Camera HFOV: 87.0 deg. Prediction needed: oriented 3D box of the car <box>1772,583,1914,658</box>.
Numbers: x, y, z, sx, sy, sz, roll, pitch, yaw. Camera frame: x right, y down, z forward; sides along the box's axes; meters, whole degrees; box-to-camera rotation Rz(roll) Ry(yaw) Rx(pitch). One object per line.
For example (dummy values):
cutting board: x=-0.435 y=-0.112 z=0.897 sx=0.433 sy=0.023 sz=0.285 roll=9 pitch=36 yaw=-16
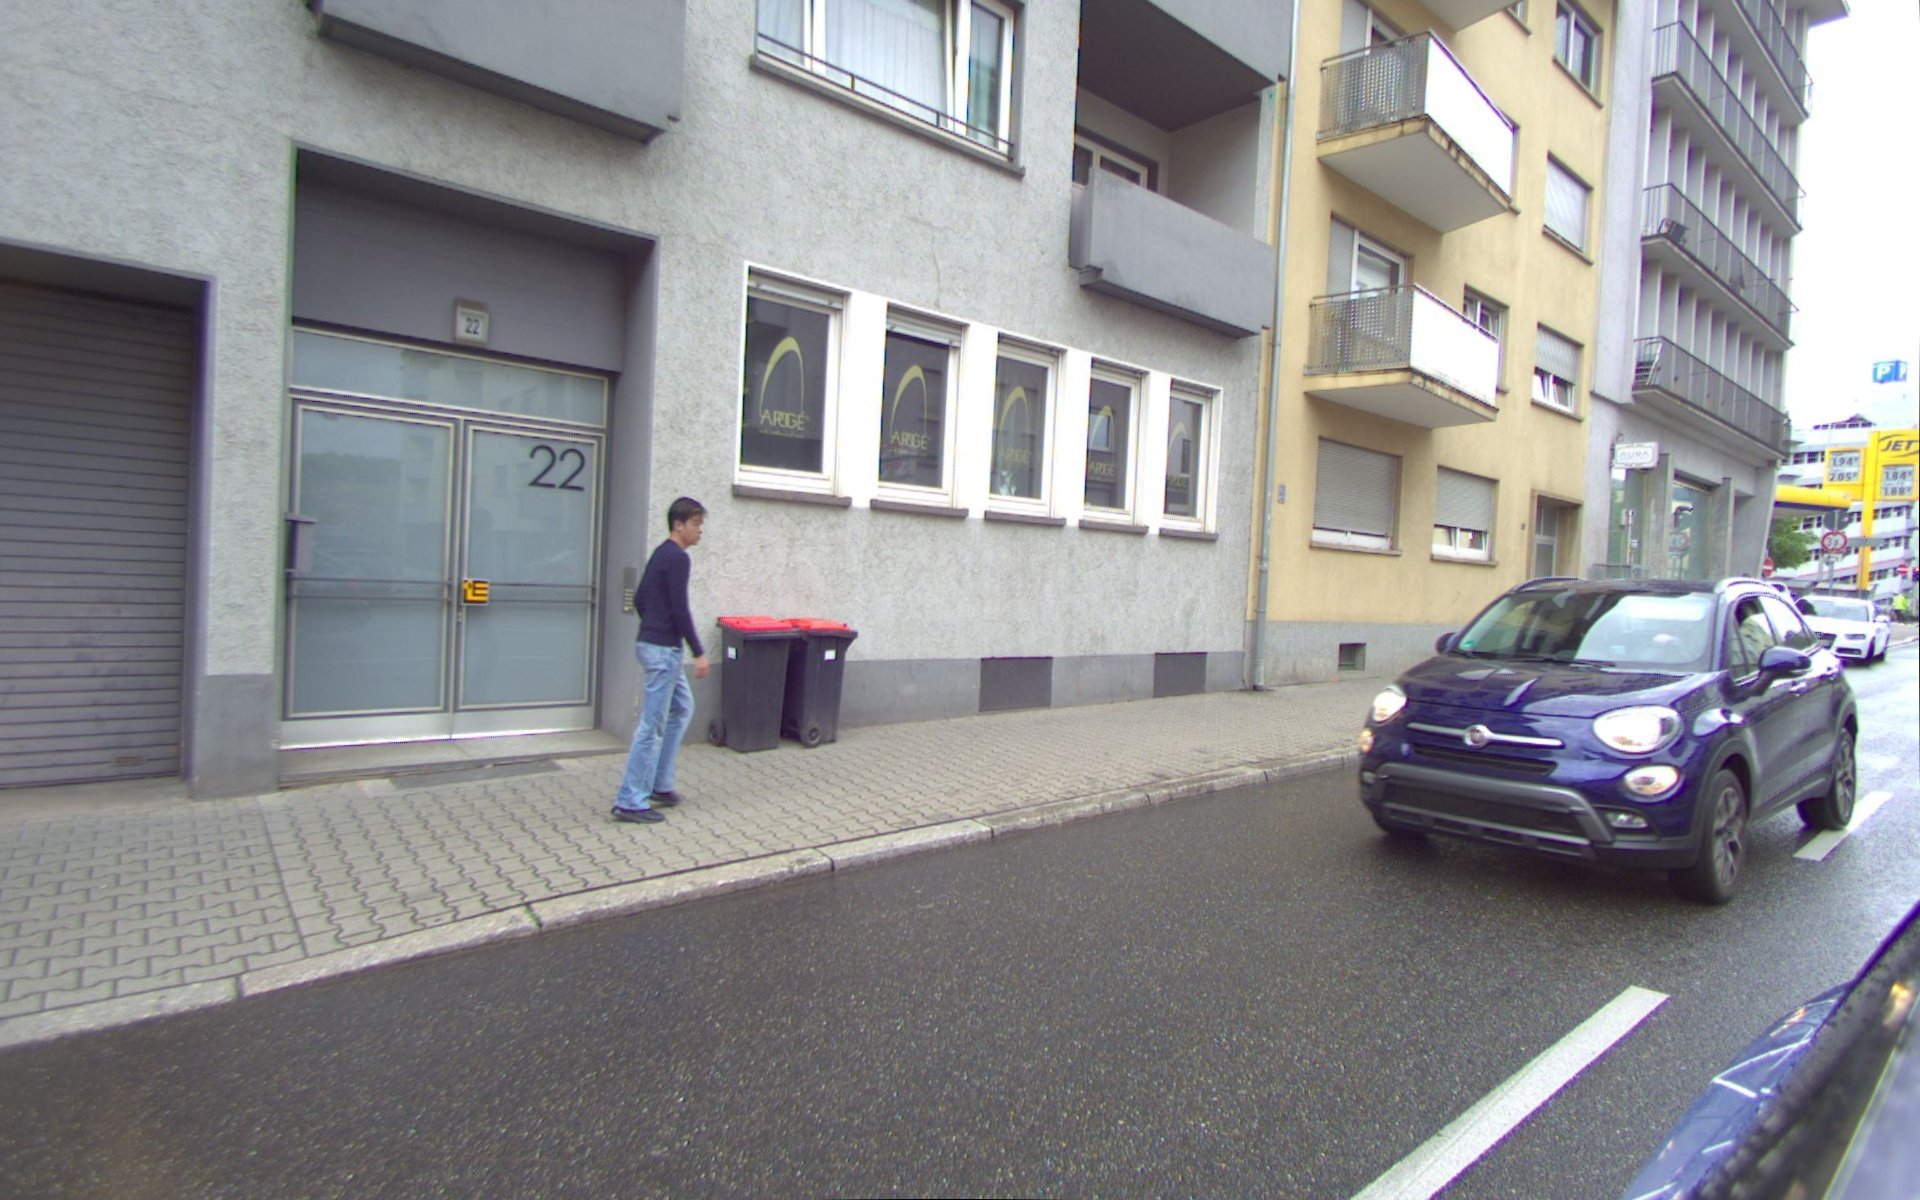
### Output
car: x=20.116 y=0.406 z=23.003 sx=4.093 sy=1.453 sz=1.803 roll=0 pitch=4 yaw=-41

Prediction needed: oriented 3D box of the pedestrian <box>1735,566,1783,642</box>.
pedestrian: x=19.365 y=0.078 z=24.526 sx=0.872 sy=1.777 sz=0.679 roll=0 pitch=2 yaw=-39

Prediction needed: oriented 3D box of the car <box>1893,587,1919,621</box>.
car: x=53.921 y=0.299 z=55.174 sx=1.960 sy=1.782 sz=4.005 roll=1 pitch=3 yaw=-31

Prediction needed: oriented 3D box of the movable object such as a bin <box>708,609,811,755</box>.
movable object such as a bin: x=-1.479 y=0.579 z=7.443 sx=0.506 sy=0.967 sz=0.541 roll=0 pitch=5 yaw=-40

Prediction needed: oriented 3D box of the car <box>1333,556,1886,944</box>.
car: x=4.103 y=0.587 z=6.139 sx=3.930 sy=1.600 sz=1.770 roll=0 pitch=2 yaw=-41

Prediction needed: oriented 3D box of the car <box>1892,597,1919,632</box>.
car: x=48.124 y=0.698 z=49.269 sx=1.870 sy=1.737 sz=3.924 roll=0 pitch=-1 yaw=-42

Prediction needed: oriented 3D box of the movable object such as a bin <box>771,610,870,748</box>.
movable object such as a bin: x=-1.076 y=0.585 z=7.783 sx=0.506 sy=0.961 sz=0.541 roll=0 pitch=5 yaw=-40

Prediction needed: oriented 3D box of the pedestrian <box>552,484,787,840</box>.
pedestrian: x=-1.629 y=0.292 z=5.688 sx=1.038 sy=1.799 sz=0.644 roll=0 pitch=5 yaw=-41

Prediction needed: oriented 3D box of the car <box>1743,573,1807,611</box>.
car: x=33.651 y=-0.316 z=41.745 sx=1.766 sy=1.493 sz=3.938 roll=0 pitch=0 yaw=43
